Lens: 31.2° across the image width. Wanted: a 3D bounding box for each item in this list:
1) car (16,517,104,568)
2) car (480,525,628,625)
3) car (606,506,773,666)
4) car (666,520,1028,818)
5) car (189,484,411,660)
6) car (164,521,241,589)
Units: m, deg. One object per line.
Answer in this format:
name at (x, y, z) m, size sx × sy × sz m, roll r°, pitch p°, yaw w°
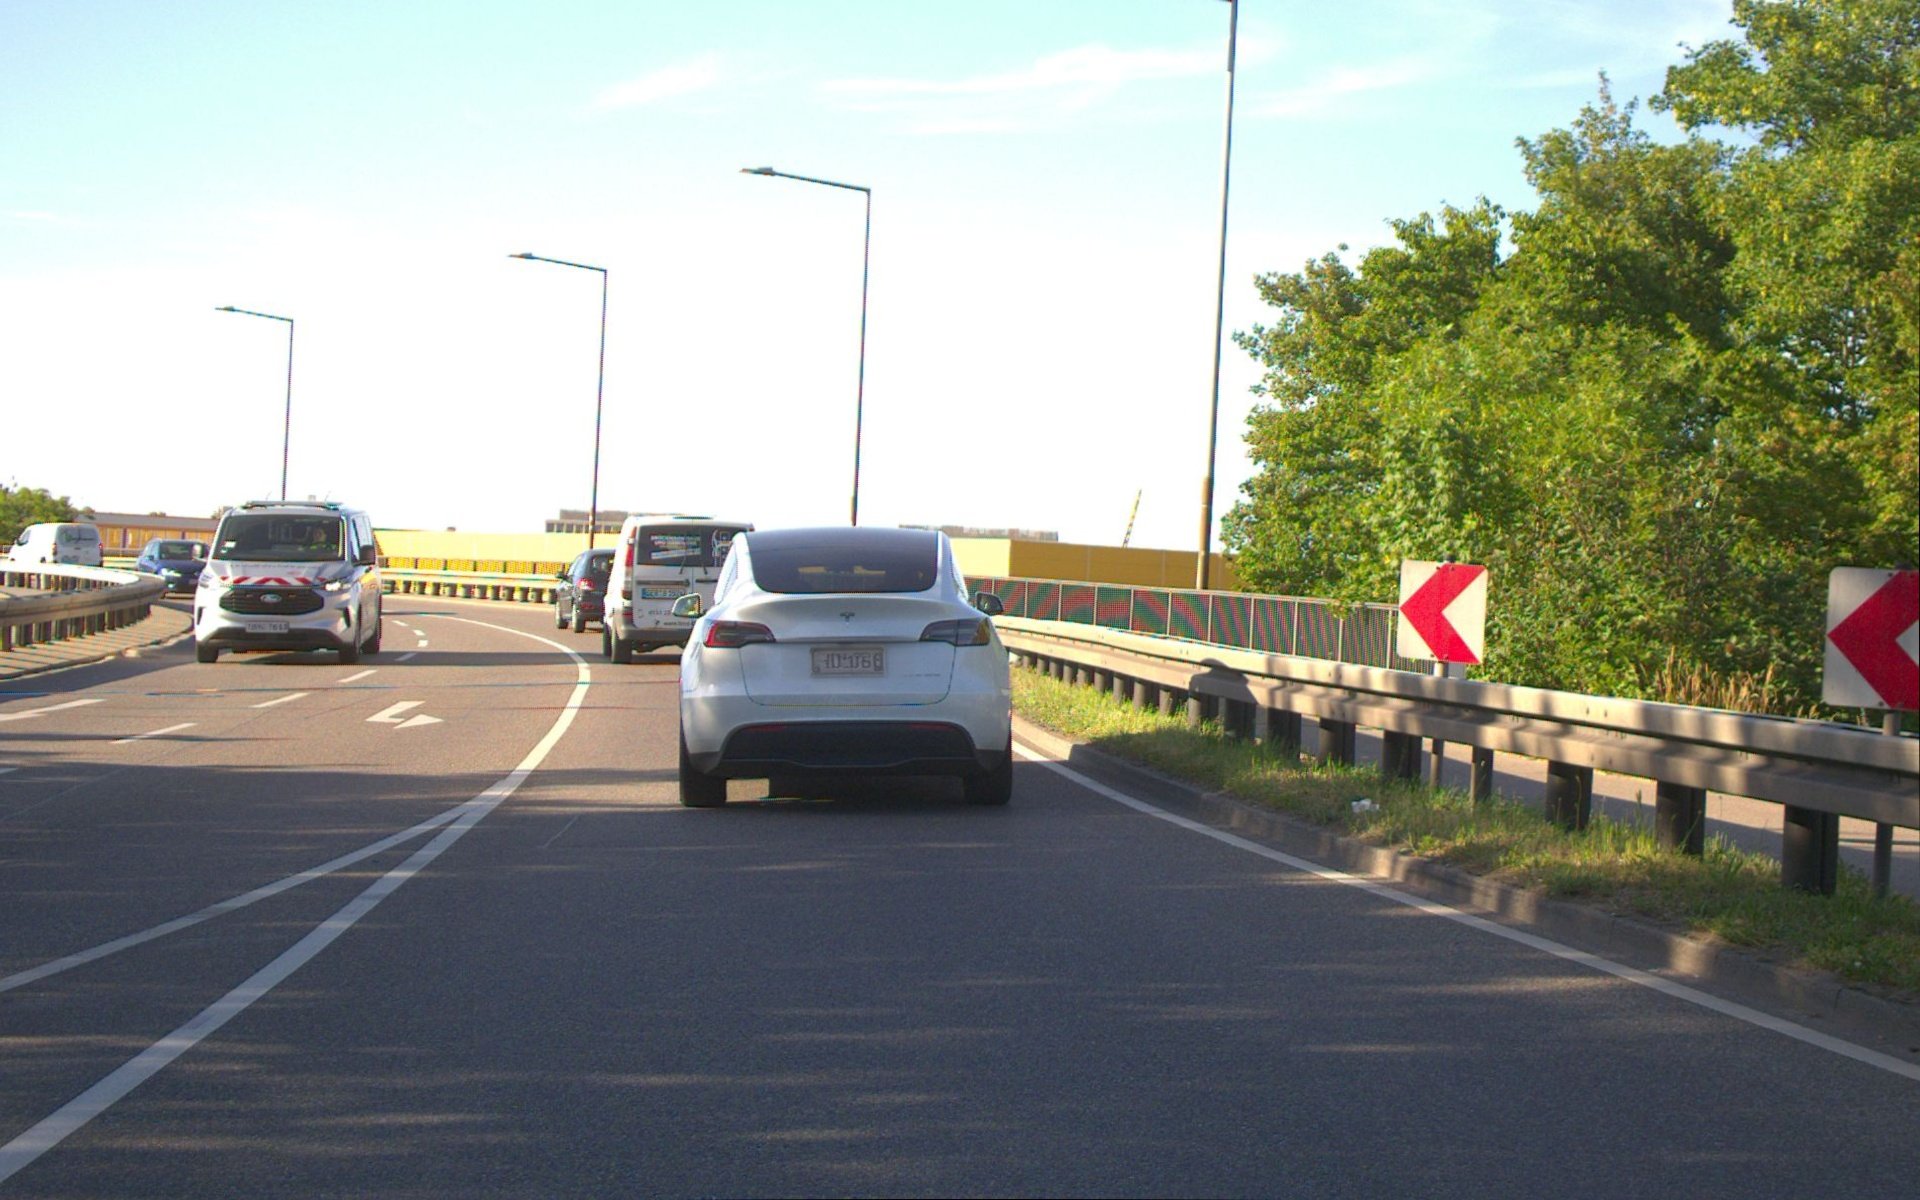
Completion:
car at (-28.776, -1.855, 109.856) m, size 1.835 × 1.550 × 3.894 m, roll 1°, pitch 1°, yaw -29°
car at (-6.957, -0.453, 58.651) m, size 1.968 × 1.632 × 4.001 m, roll 0°, pitch 1°, yaw -15°
car at (-3.551, -0.212, 44.476) m, size 2.005 × 1.934 × 4.468 m, roll 1°, pitch 1°, yaw -6°
car at (-0.712, 0.342, 20.879) m, size 1.985 × 1.632 × 4.063 m, roll 0°, pitch 1°, yaw -3°
car at (-8.409, -0.390, 44.263) m, size 1.949 × 2.105 × 5.271 m, roll 1°, pitch 1°, yaw -1°
car at (-18.875, -1.132, 85.547) m, size 1.803 × 1.632 × 4.001 m, roll 1°, pitch 1°, yaw -13°
